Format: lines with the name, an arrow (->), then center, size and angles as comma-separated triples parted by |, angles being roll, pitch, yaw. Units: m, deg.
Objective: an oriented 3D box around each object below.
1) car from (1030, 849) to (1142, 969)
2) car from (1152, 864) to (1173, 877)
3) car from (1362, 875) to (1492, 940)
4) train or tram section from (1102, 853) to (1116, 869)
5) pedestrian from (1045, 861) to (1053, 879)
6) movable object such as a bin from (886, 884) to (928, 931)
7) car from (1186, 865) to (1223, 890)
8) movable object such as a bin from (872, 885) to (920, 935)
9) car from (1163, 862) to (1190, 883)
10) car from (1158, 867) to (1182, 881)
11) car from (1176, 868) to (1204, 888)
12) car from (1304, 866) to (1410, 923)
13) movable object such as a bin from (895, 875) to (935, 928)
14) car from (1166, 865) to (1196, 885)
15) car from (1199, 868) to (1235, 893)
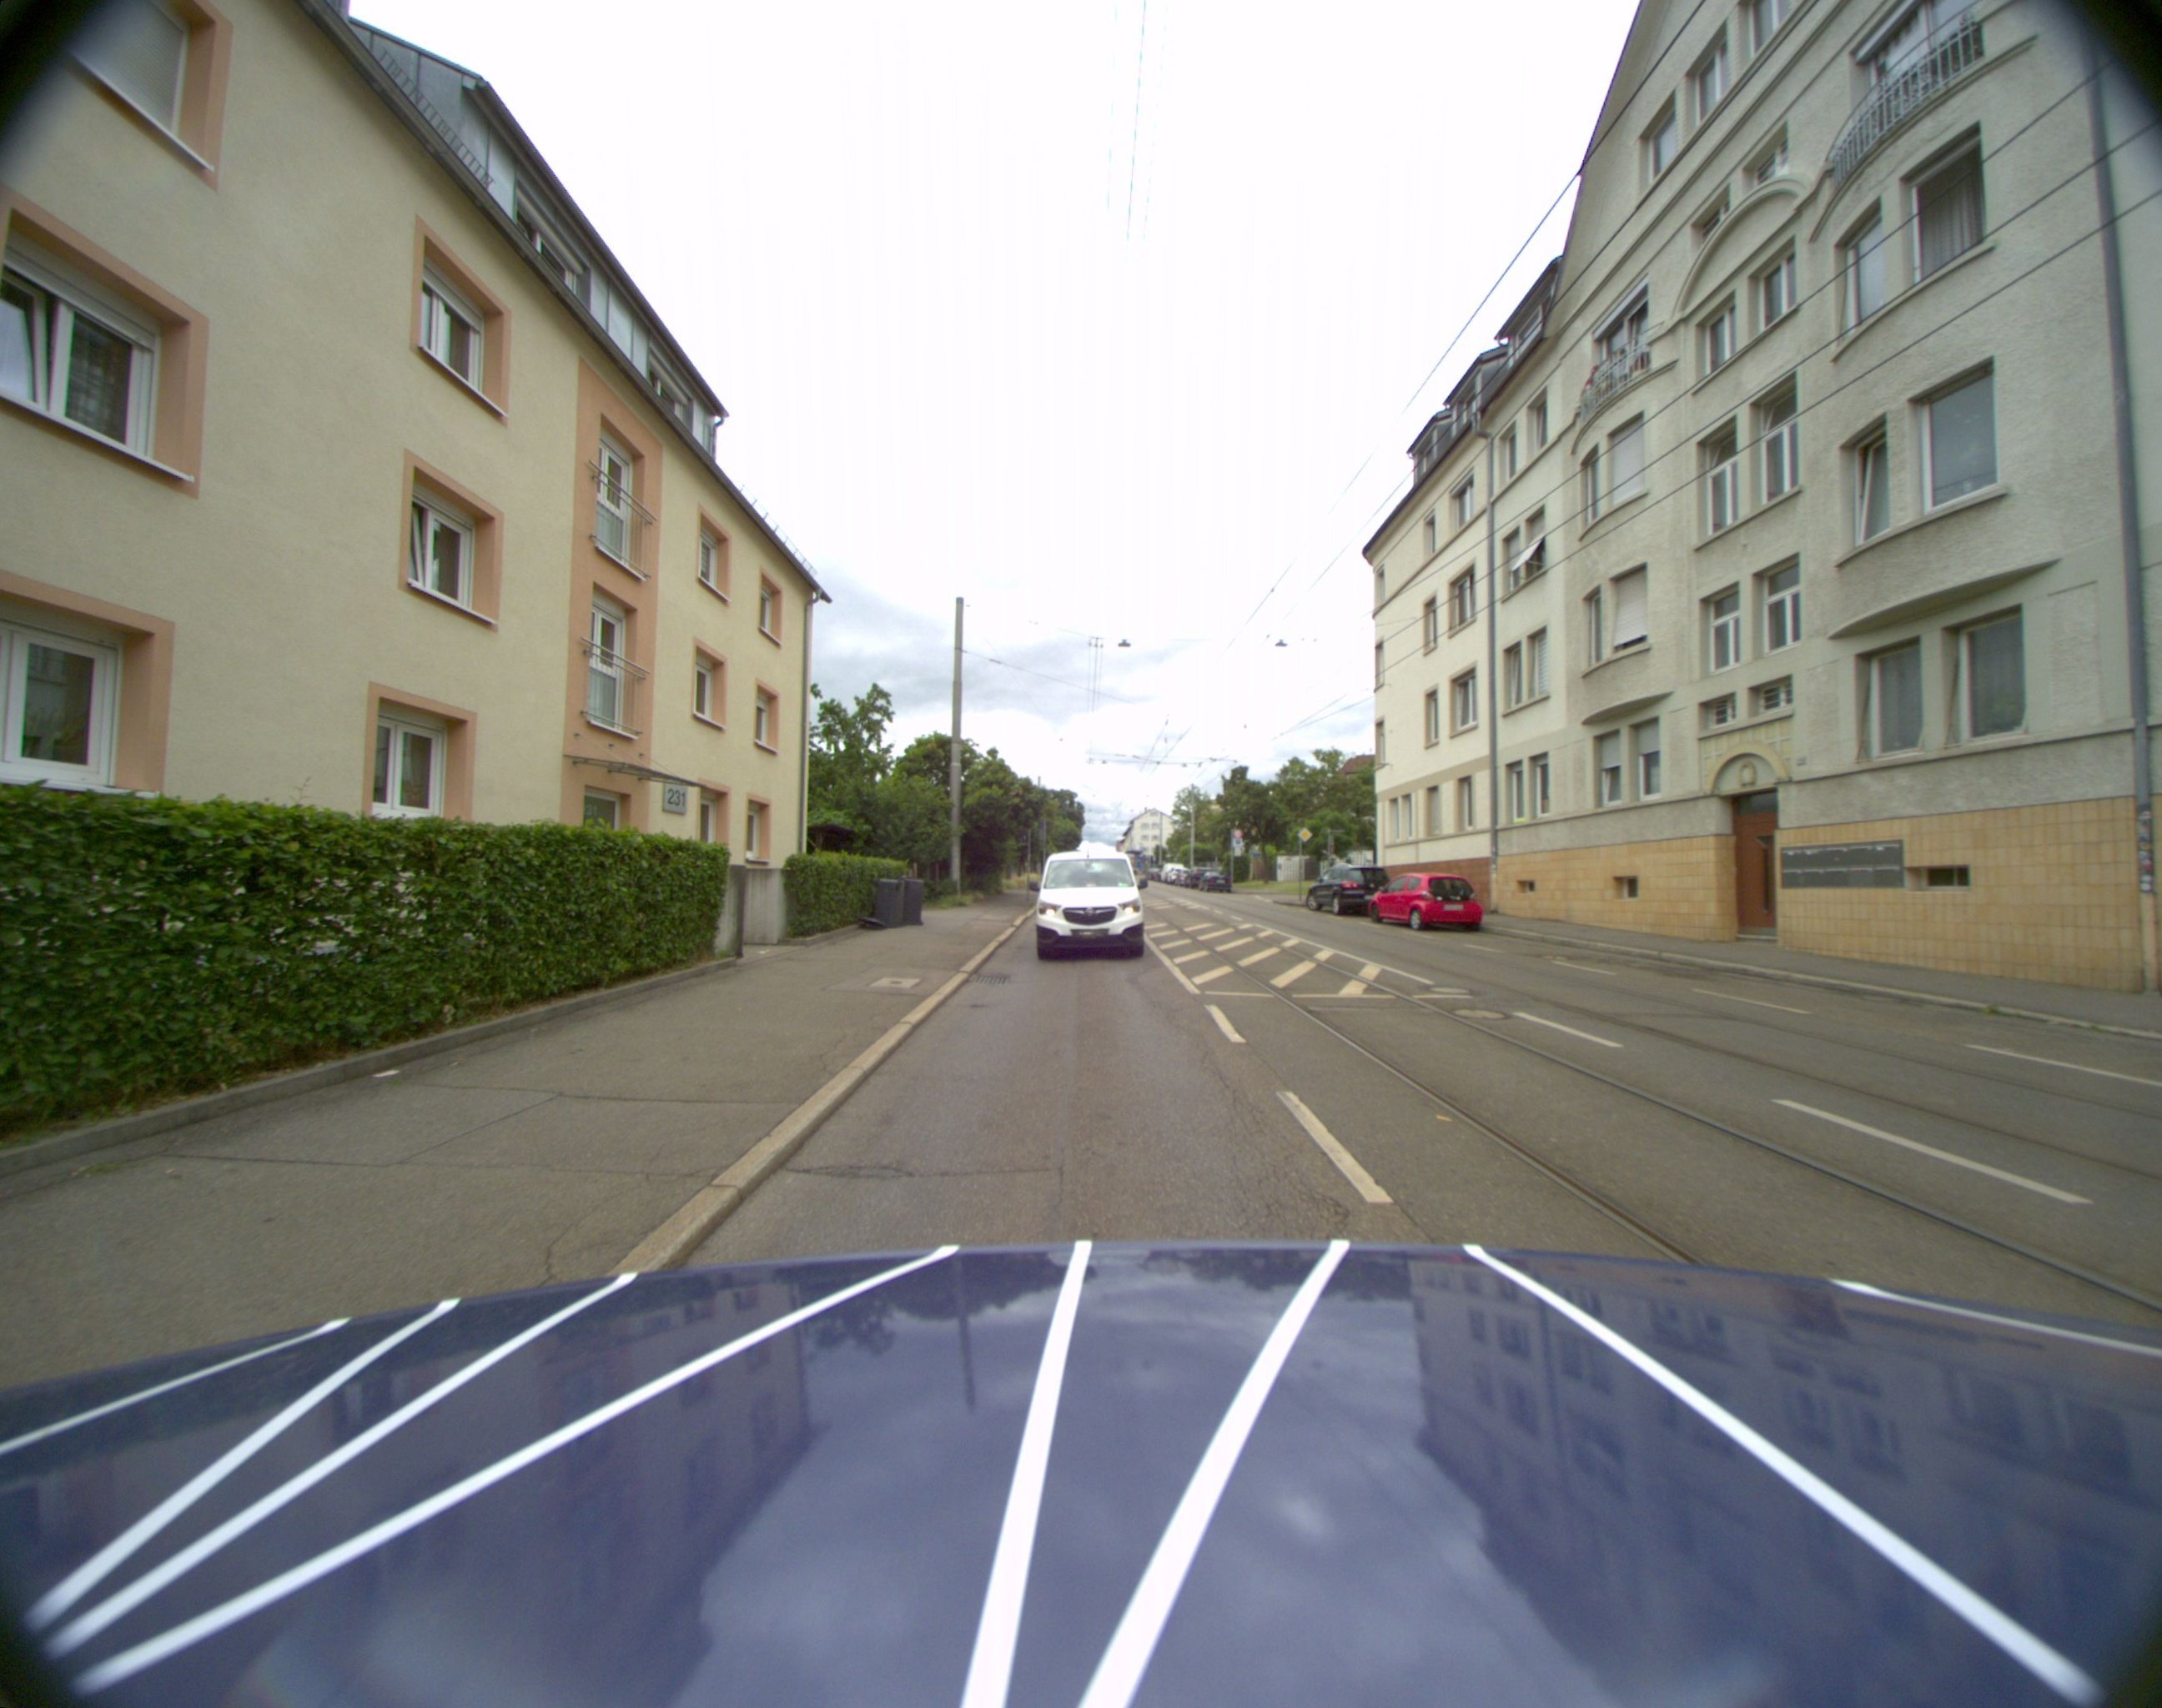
car -> 0.130, 0.891, 14.064 | 1.730, 1.850, 4.421 | 1, -1, 1
car -> 9.317, 1.869, 87.347 | 1.845, 1.379, 4.439 | 1, 0, -1
car -> 9.152, 1.352, 20.452 | 1.625, 1.454, 3.744 | 1, 0, -3
train or tram section -> 6.325, 1.620, 173.555 | 2.857, 3.615, 12.130 | 1, 0, 0
pedestrian -> -2.934, 1.472, 70.101 | 0.716, 1.611, 0.718 | 1, 0, 0
movable object such as a bin -> -3.910, 1.191, 17.099 | 0.794, 1.006, 0.789 | 1, 0, -3
car -> 9.228, 1.747, 57.226 | 1.974, 1.676, 4.443 | 1, 0, -1
movable object such as a bin -> -3.946, 1.189, 16.249 | 0.794, 1.006, 0.789 | 1, 0, 2
car -> 9.356, 1.817, 74.844 | 1.974, 1.901, 4.734 | 1, 0, -1
car -> 9.423, 2.084, 80.672 | 1.845, 1.379, 4.517 | 1, 0, -1
car -> 9.113, 1.955, 63.742 | 1.743, 1.500, 3.869 | 1, 0, -1
car -> 9.128, 1.267, 25.537 | 1.872, 1.636, 4.401 | 1, 0, -1
movable object such as a bin -> -3.901, 1.103, 17.929 | 0.794, 1.211, 0.789 | 1, 0, -3
car -> 9.101, 1.893, 69.382 | 1.974, 1.676, 4.632 | 1, 0, -1
car -> 9.052, 1.745, 50.852 | 1.625, 1.469, 4.156 | 1, 0, -1
